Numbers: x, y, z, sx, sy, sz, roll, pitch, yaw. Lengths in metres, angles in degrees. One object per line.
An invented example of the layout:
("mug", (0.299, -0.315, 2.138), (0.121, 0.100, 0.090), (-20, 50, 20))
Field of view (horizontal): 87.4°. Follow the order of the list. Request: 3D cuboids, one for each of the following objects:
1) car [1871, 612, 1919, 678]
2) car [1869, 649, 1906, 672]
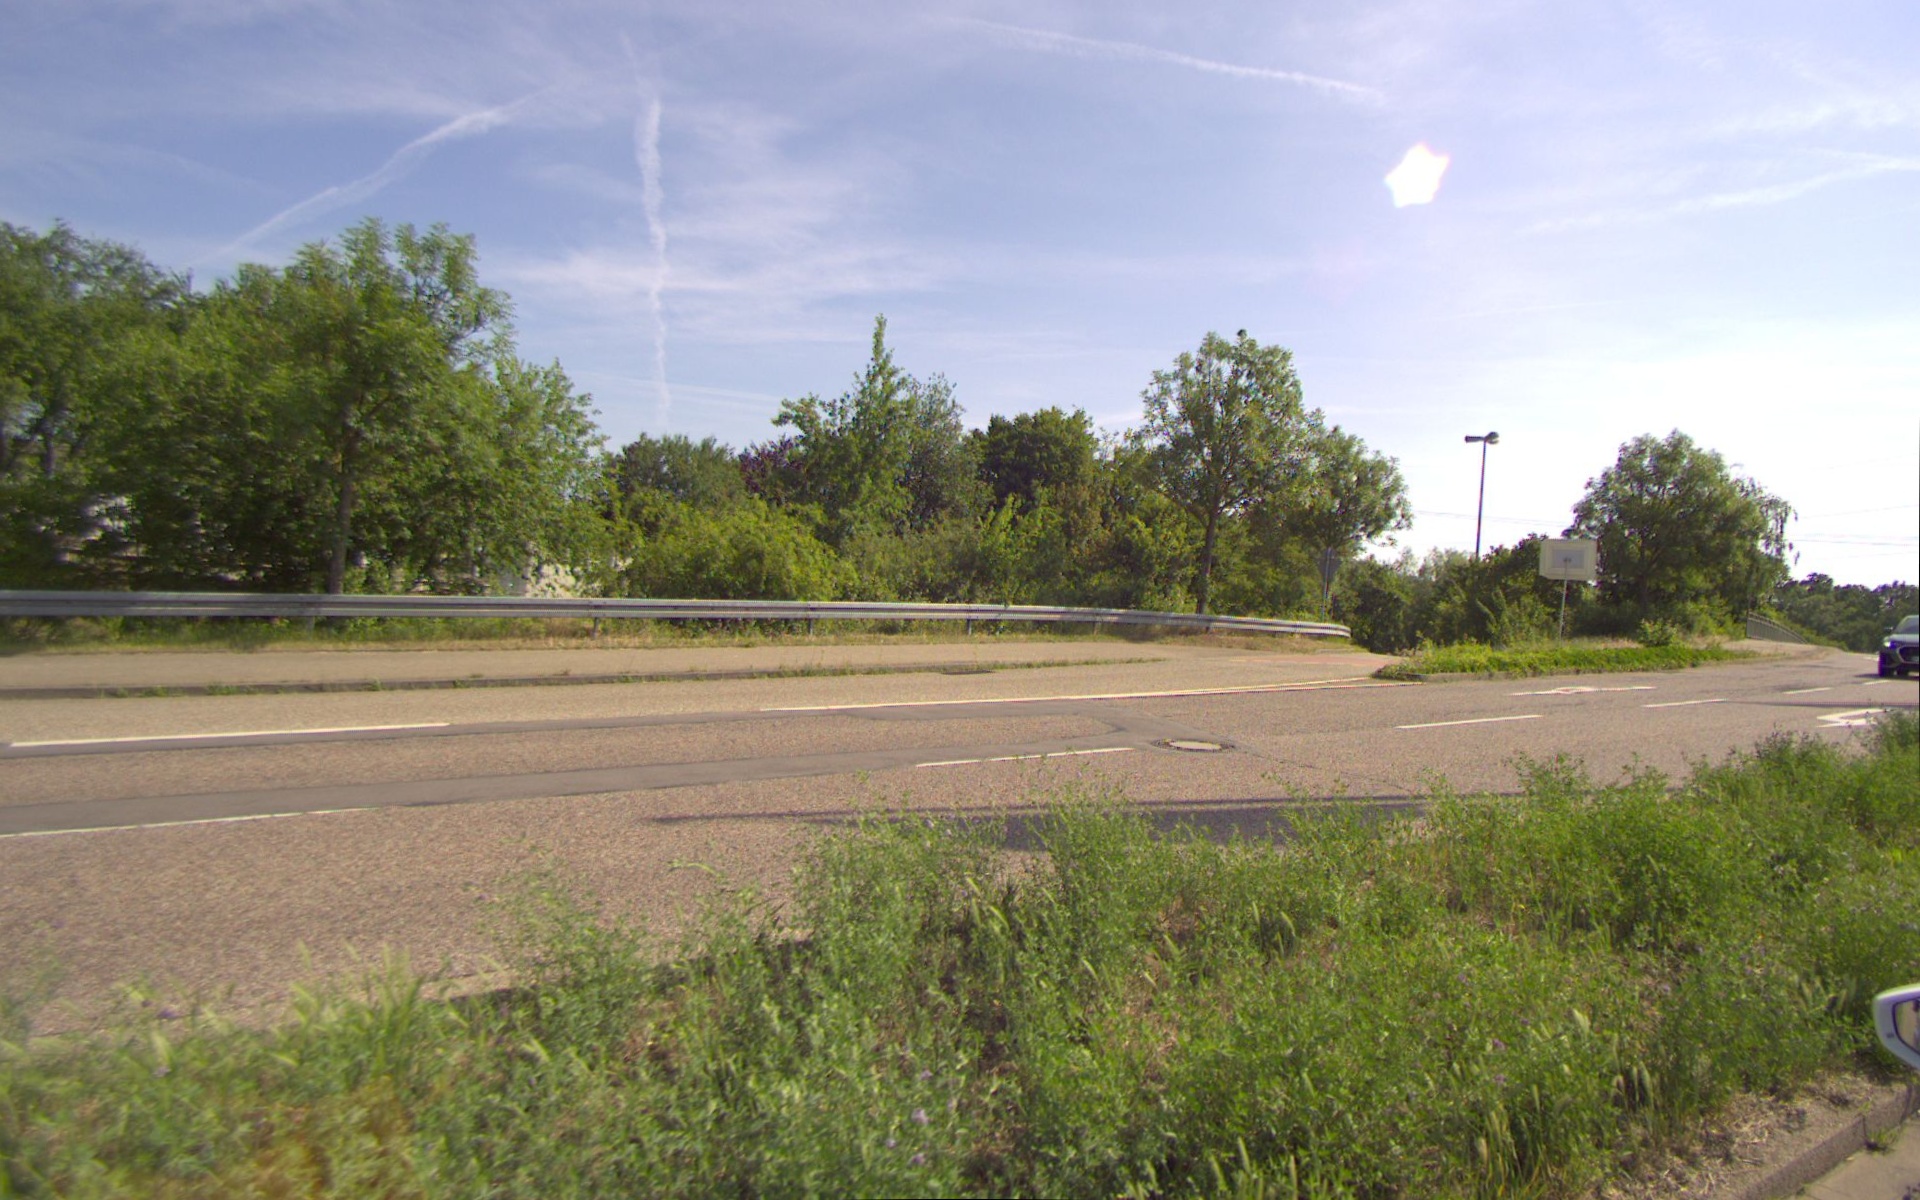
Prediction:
("car", (23.913, 1.080, 24.658), (4.225, 1.504, 1.768), (1, 0, -41))
("car", (69.487, 4.540, 75.240), (3.974, 1.571, 1.779), (3, -1, -44))
